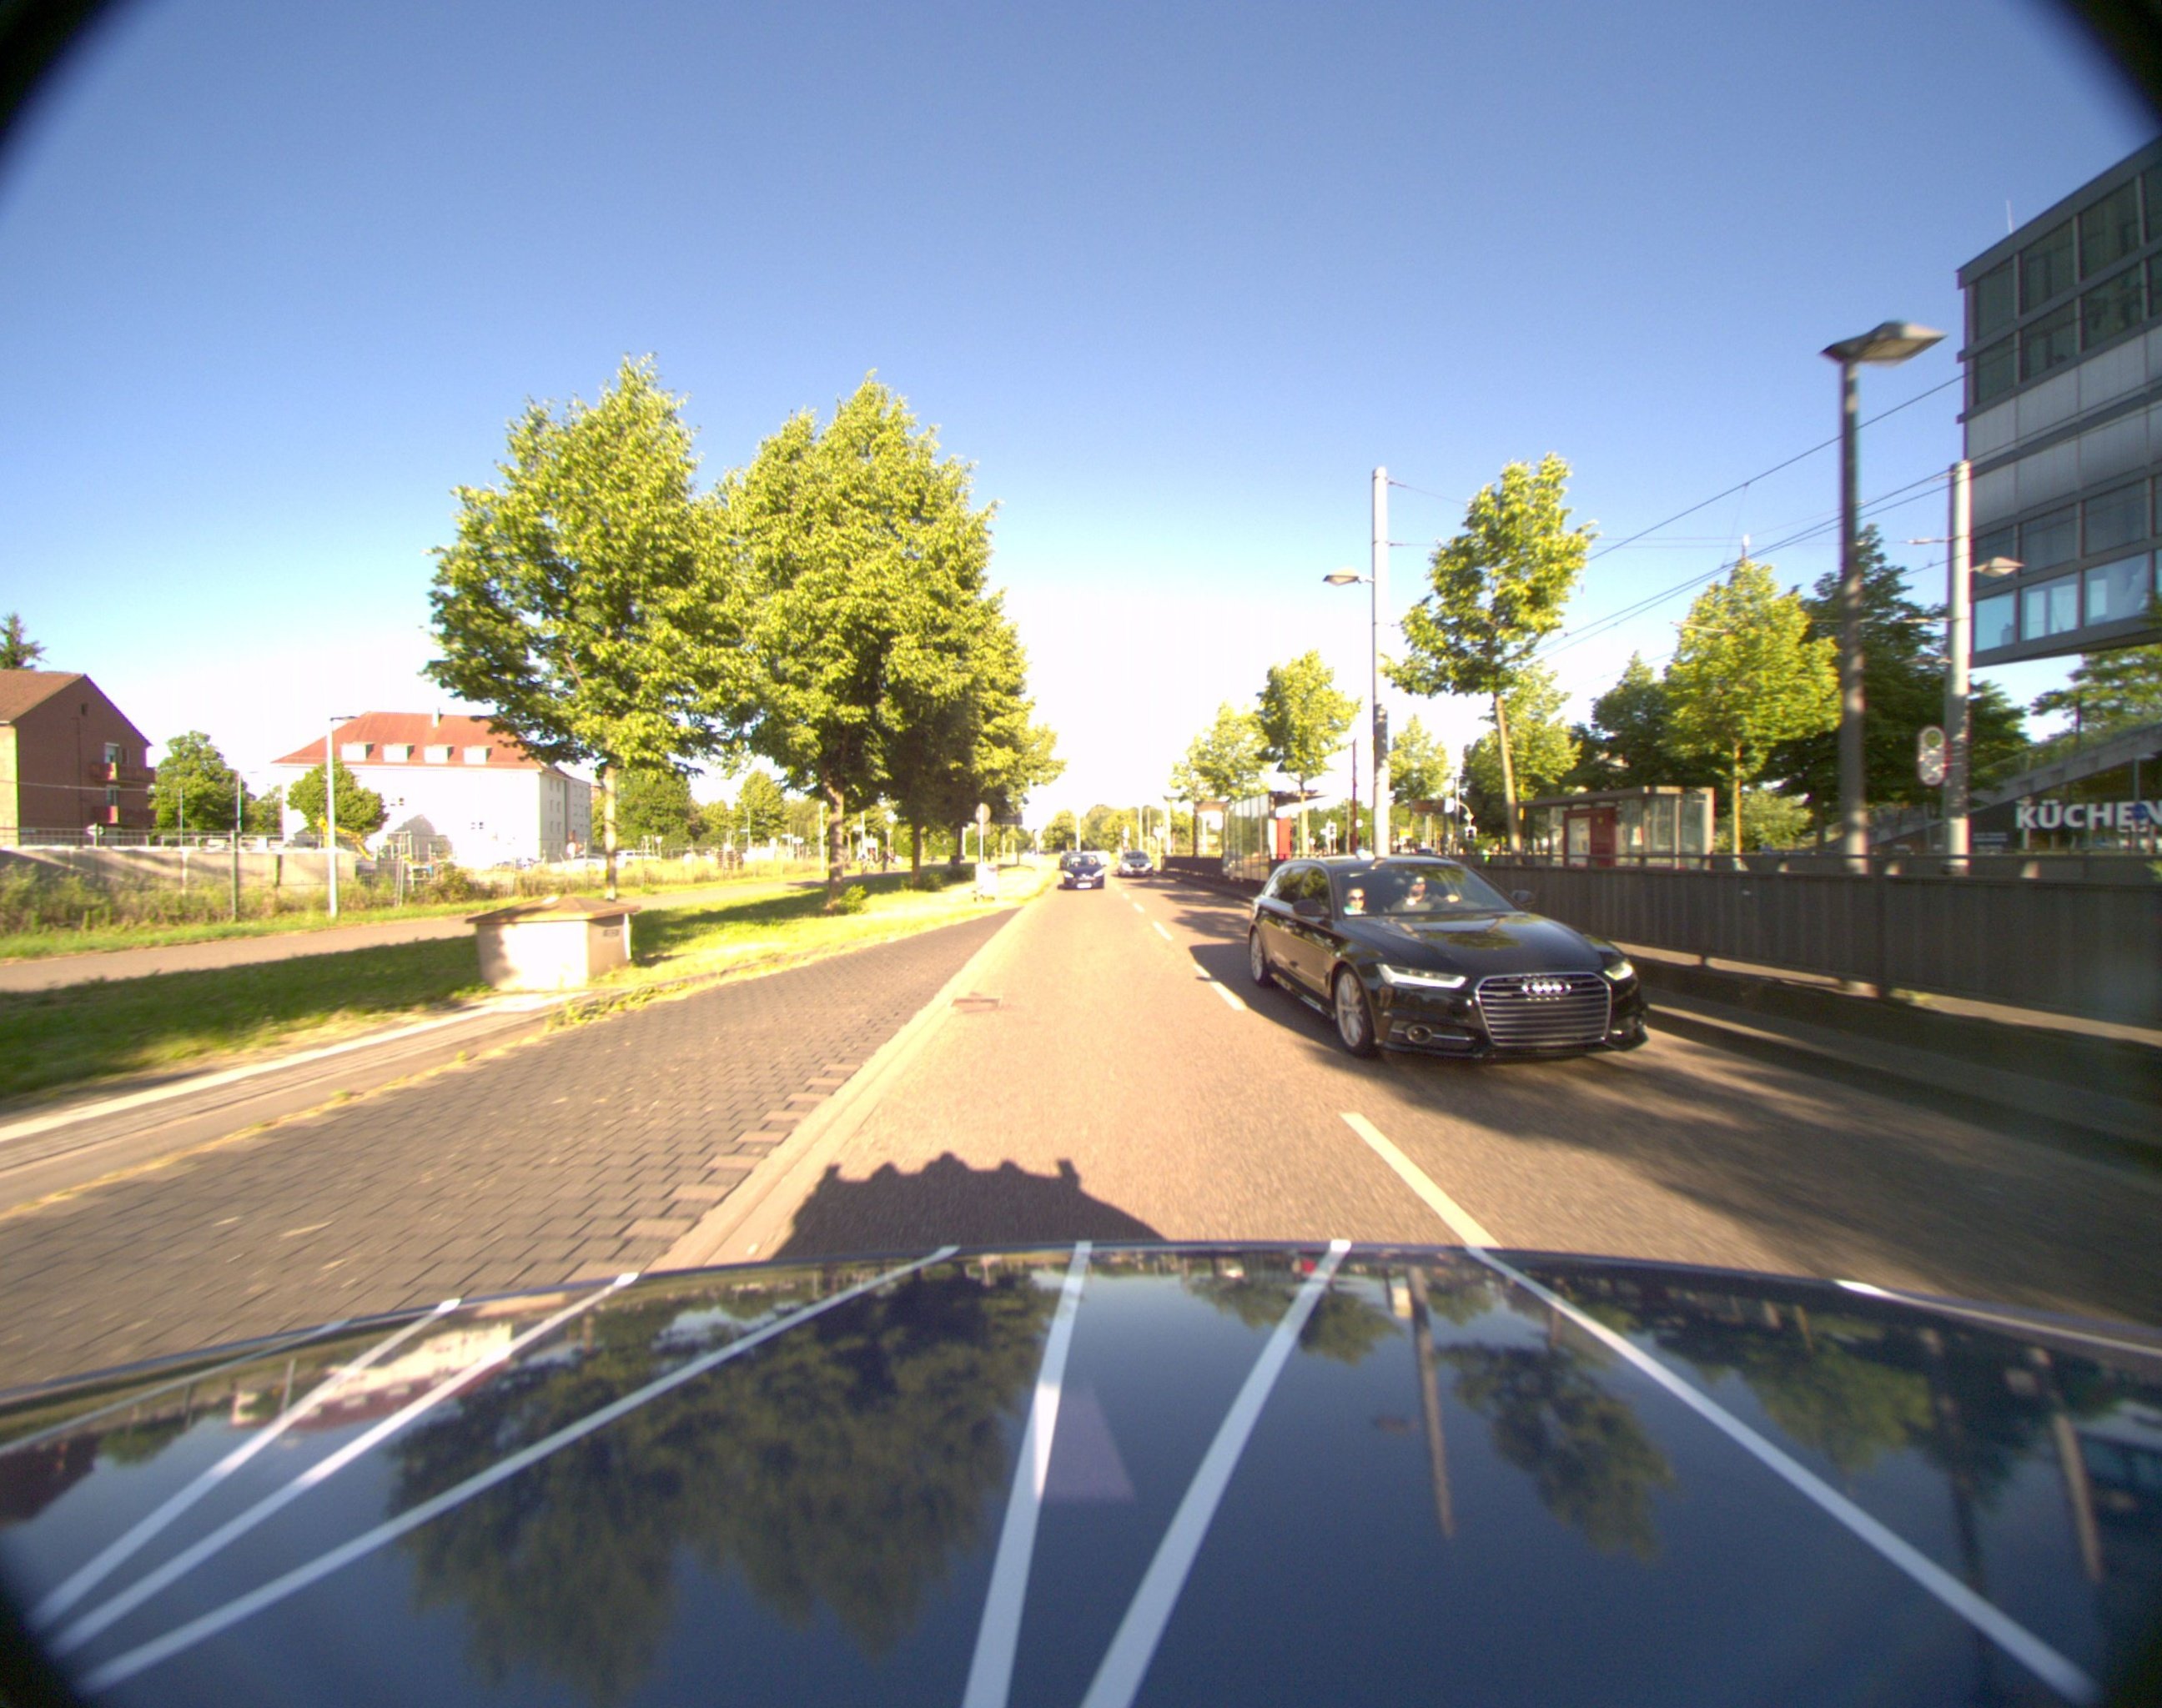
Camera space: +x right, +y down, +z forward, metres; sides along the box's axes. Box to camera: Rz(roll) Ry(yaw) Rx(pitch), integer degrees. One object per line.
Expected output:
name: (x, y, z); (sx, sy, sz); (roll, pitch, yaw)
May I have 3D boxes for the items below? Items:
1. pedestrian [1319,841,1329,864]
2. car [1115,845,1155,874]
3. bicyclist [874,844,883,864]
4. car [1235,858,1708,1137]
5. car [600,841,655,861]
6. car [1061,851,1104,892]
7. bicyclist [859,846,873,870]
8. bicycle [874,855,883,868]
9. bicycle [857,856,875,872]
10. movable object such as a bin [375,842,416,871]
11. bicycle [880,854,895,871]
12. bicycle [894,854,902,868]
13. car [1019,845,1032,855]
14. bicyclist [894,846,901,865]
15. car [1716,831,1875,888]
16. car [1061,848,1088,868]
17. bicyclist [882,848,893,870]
pedestrian: (17.076, -0.110, 53.387); (0.418, 1.569, 0.811); (-1, 3, -2)
car: (3.095, 0.294, 44.023); (1.849, 1.560, 4.527); (0, 1, -2)
bicyclist: (-16.274, 0.019, 60.997); (0.593, 1.578, 0.964); (-1, 3, -11)
car: (2.769, 0.855, 6.758); (1.789, 1.518, 4.600); (-1, 1, -1)
car: (-47.266, -0.337, 79.259); (1.994, 2.002, 4.481); (0, 2, 34)
car: (0.100, 0.702, 32.908); (1.763, 1.507, 3.946); (-1, 2, 1)
bicyclist: (-14.062, 0.258, 49.684); (0.654, 1.544, 0.794); (-1, 2, 1)
bicycle: (-16.279, 0.569, 61.073); (0.593, 0.955, 1.898); (-1, 2, -11)
bicycle: (-14.065, 0.660, 49.701); (0.657, 1.006, 1.820); (0, 1, 1)
movable object such as a bin: (-49.767, 0.133, 55.186); (2.072, 2.003, 1.994); (-3, 3, -41)
bicycle: (-12.823, 0.555, 50.415); (0.507, 1.145, 1.605); (0, 1, 1)
bicycle: (-14.978, 0.530, 62.113); (0.479, 1.076, 1.641); (-2, 2, -18)
car: (-8.347, -0.600, 115.047); (1.701, 1.555, 3.675); (0, 1, 0)
bicyclist: (-14.979, 0.102, 62.064); (0.472, 1.478, 0.914); (-2, 3, -18)
car: (22.945, 0.118, 24.623); (1.620, 1.656, 3.773); (-1, 2, 1)
car: (-0.519, 0.251, 57.210); (1.849, 1.420, 3.946); (0, 1, -4)
bicyclist: (-12.834, 0.314, 50.327); (0.504, 1.464, 0.833); (-1, 2, 1)
